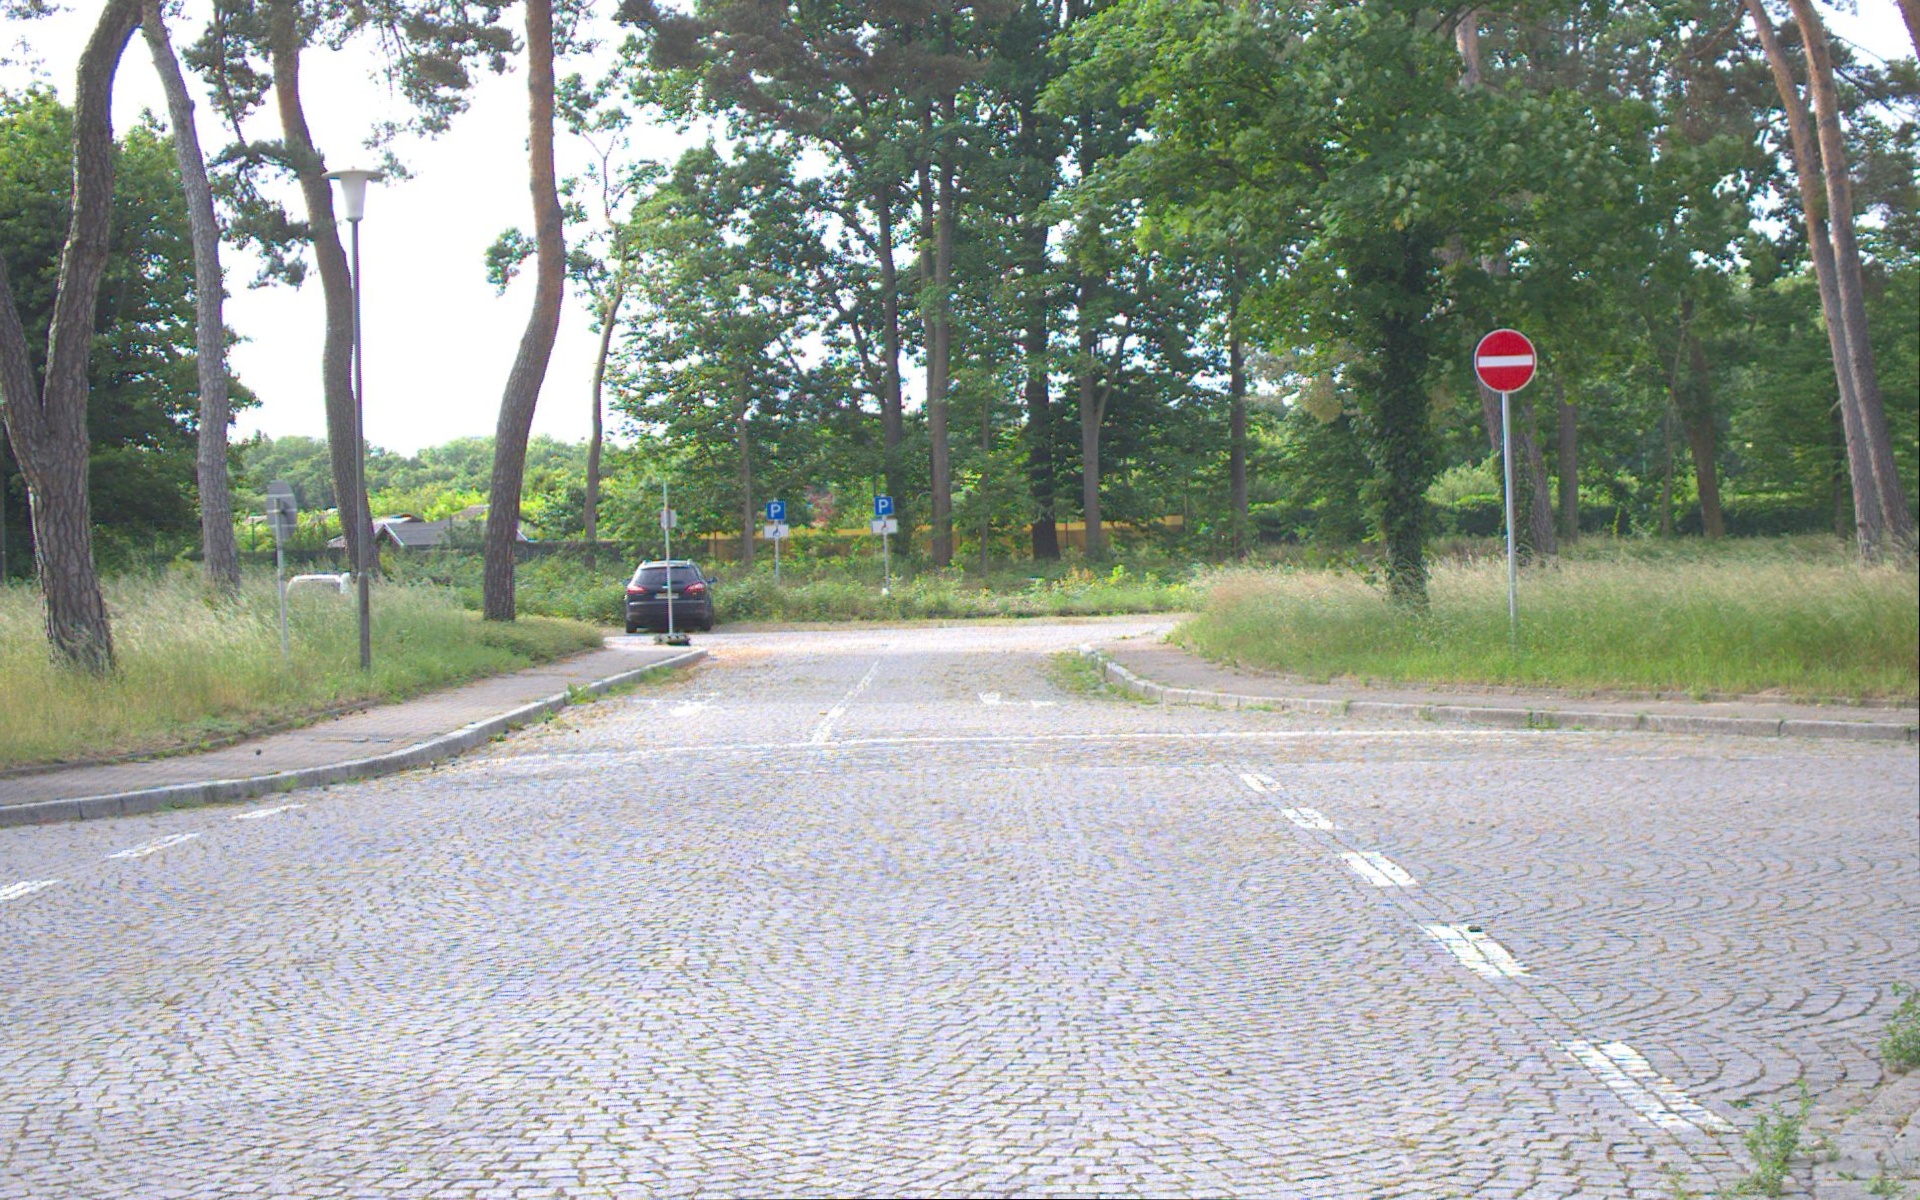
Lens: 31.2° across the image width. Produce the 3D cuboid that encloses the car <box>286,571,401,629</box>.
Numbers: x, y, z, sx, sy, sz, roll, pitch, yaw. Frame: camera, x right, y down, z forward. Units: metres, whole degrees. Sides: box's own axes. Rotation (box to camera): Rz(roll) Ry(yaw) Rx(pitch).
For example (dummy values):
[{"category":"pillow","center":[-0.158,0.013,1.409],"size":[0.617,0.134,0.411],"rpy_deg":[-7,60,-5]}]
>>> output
[{"category":"car","center":[-13.475,-0.022,75.323],"size":[1.689,1.152,4.000],"rpy_deg":[-2,1,1]}]

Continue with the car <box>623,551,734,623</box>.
[{"category":"car","center":[-6.062,-0.304,74.406],"size":[1.993,1.503,4.000],"rpy_deg":[0,1,1]}]
